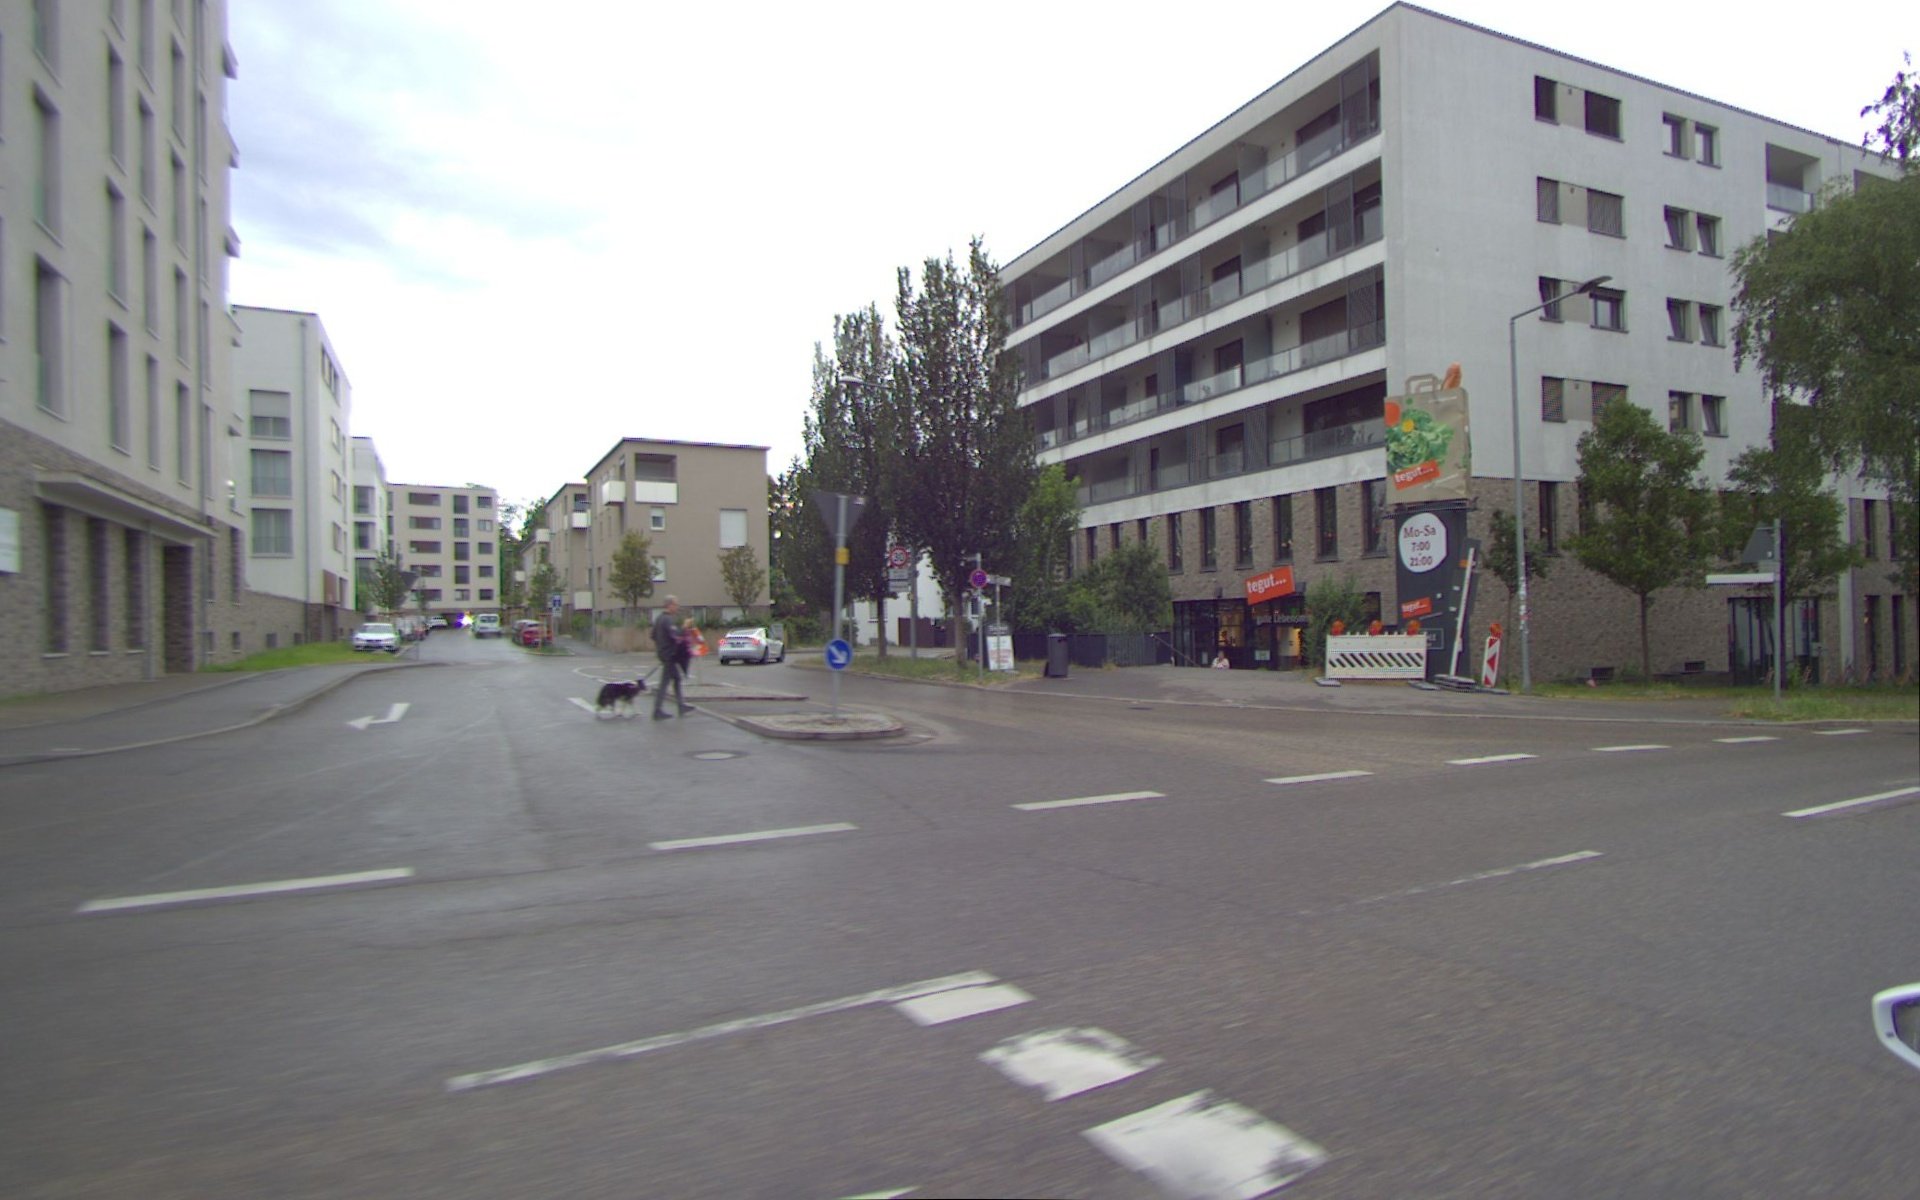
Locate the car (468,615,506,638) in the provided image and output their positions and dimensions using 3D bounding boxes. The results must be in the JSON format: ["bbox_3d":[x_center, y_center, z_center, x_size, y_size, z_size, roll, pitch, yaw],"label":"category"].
[{"bbox_3d":[-37.123,2.090,78.810,1.980,1.773,3.961,2,-2,-35],"label":"car"}]

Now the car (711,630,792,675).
[{"bbox_3d":[-8.382,2.122,40.817,2.022,1.682,4.824,1,-2,3],"label":"car"}]

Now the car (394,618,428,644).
[{"bbox_3d":[-38.922,2.234,71.293,1.974,1.773,3.973,1,-2,-27],"label":"car"}]

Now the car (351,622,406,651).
[{"bbox_3d":[-28.312,1.767,48.996,1.973,1.320,4.123,1,-1,-25],"label":"car"}]

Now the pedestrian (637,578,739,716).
[{"bbox_3d":[-4.219,0.717,15.579,1.044,2.040,1.093,0,-3,45],"label":"pedestrian"}]

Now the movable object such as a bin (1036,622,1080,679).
[{"bbox_3d":[2.391,1.228,24.545,0.813,1.380,0.712,1,-2,-31],"label":"movable object such as a bin"}]

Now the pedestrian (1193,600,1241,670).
[{"bbox_3d":[7.678,1.048,30.007,1.105,2.040,0.878,1,-1,-33],"label":"pedestrian"}]

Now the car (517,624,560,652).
[{"bbox_3d":[-24.649,2.195,58.687,1.975,1.503,3.972,1,-1,-27],"label":"car"}]
